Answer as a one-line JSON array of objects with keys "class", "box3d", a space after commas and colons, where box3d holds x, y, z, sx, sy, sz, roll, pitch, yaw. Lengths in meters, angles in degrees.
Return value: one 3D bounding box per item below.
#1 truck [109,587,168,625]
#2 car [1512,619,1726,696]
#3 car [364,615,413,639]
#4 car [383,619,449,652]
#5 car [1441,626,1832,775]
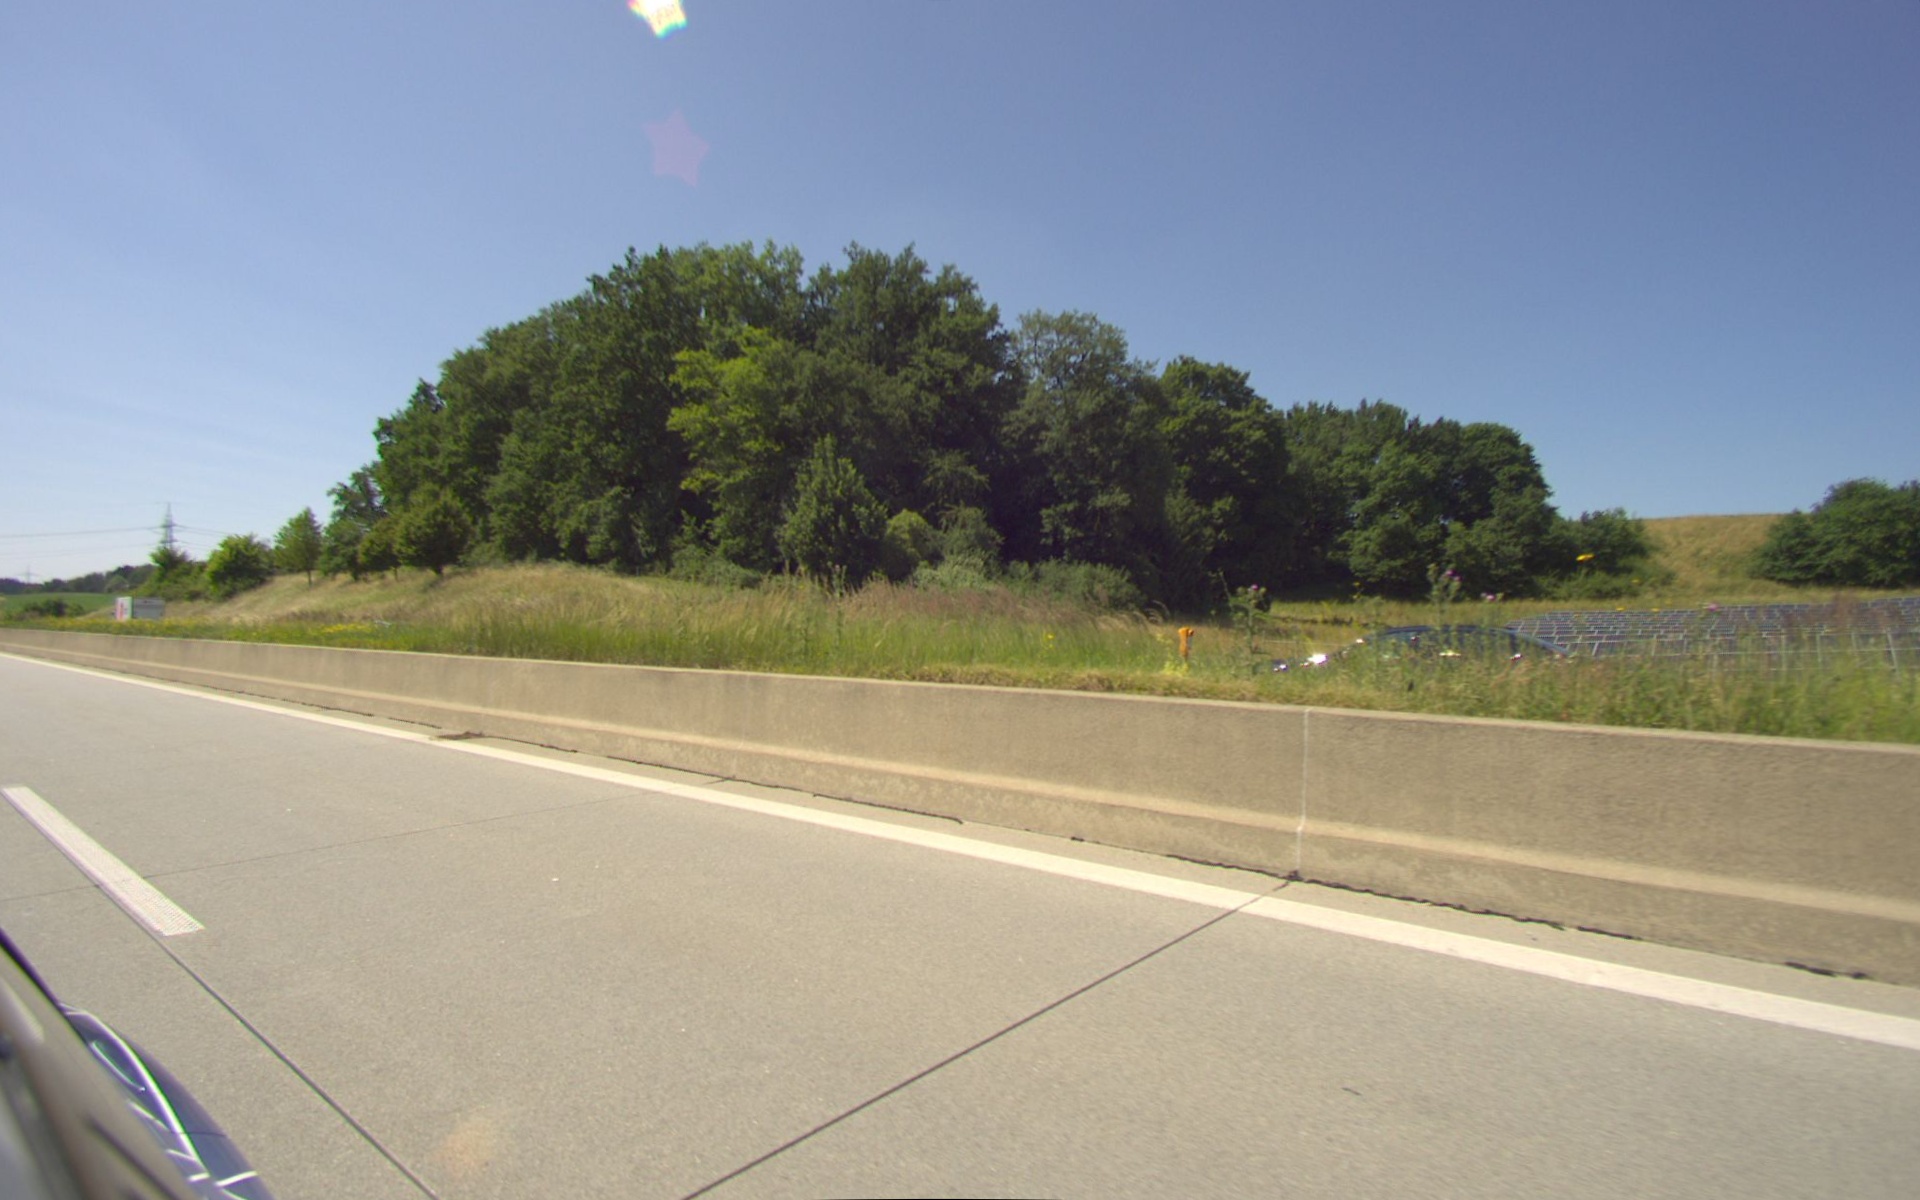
[{"class": "truck", "box3d": [-77.030, 0.593, 94.814, 8.256, 3.378, 2.864, 0, -2, 41]}, {"class": "car", "box3d": [13.905, 1.156, 21.451, 3.626, 1.386, 1.482, -1, 2, 40]}, {"class": "car", "box3d": [-36.745, 1.705, 65.027, 3.626, 1.411, 1.482, -1, 2, 40]}, {"class": "car", "box3d": [-25.848, 1.668, 48.018, 3.626, 1.411, 1.482, -1, 2, 40]}, {"class": "car", "box3d": [7.818, 1.052, 11.897, 3.626, 1.386, 1.482, -1, 2, 40]}]
